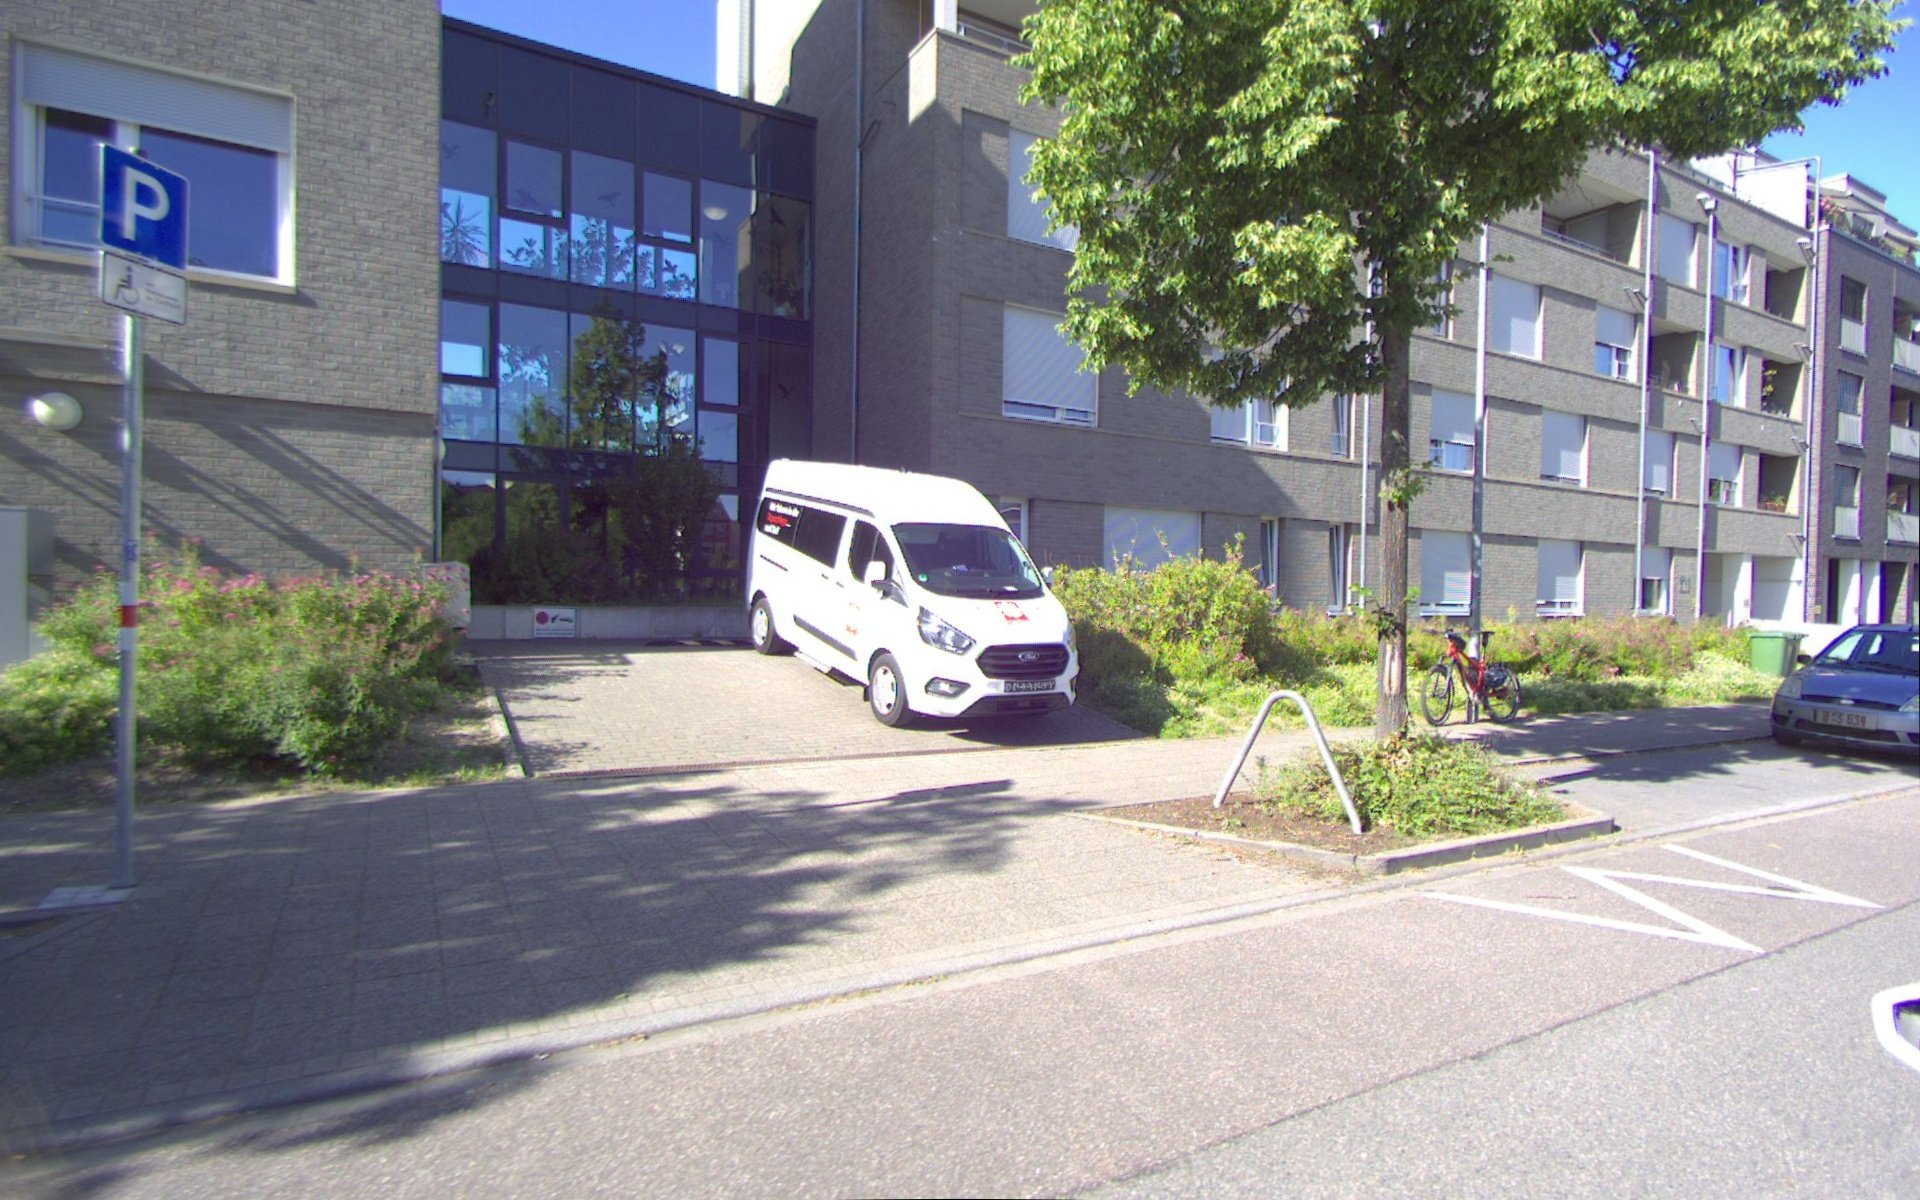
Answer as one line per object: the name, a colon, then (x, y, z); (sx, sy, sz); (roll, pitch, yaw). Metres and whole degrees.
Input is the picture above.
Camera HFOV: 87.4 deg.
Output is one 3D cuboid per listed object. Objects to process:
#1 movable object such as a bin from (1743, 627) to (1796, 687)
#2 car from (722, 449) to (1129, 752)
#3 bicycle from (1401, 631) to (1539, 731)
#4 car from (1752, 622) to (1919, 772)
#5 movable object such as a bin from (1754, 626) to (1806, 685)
movable object such as a bin: (15.453, 1.076, 19.179); (0.629, 1.105, 0.604); (0, 1, -31)
car: (-0.761, -0.292, 11.254); (1.901, 2.415, 5.413); (1, 8, -33)
bicycle: (6.142, 0.957, 12.060); (1.957, 1.139, 0.282); (1, 1, -24)
car: (11.077, 1.038, 11.767); (3.831, 1.484, 1.602); (1, 0, -32)
movable object such as a bin: (16.040, 1.076, 19.647); (0.629, 1.098, 0.604); (0, 1, -31)
